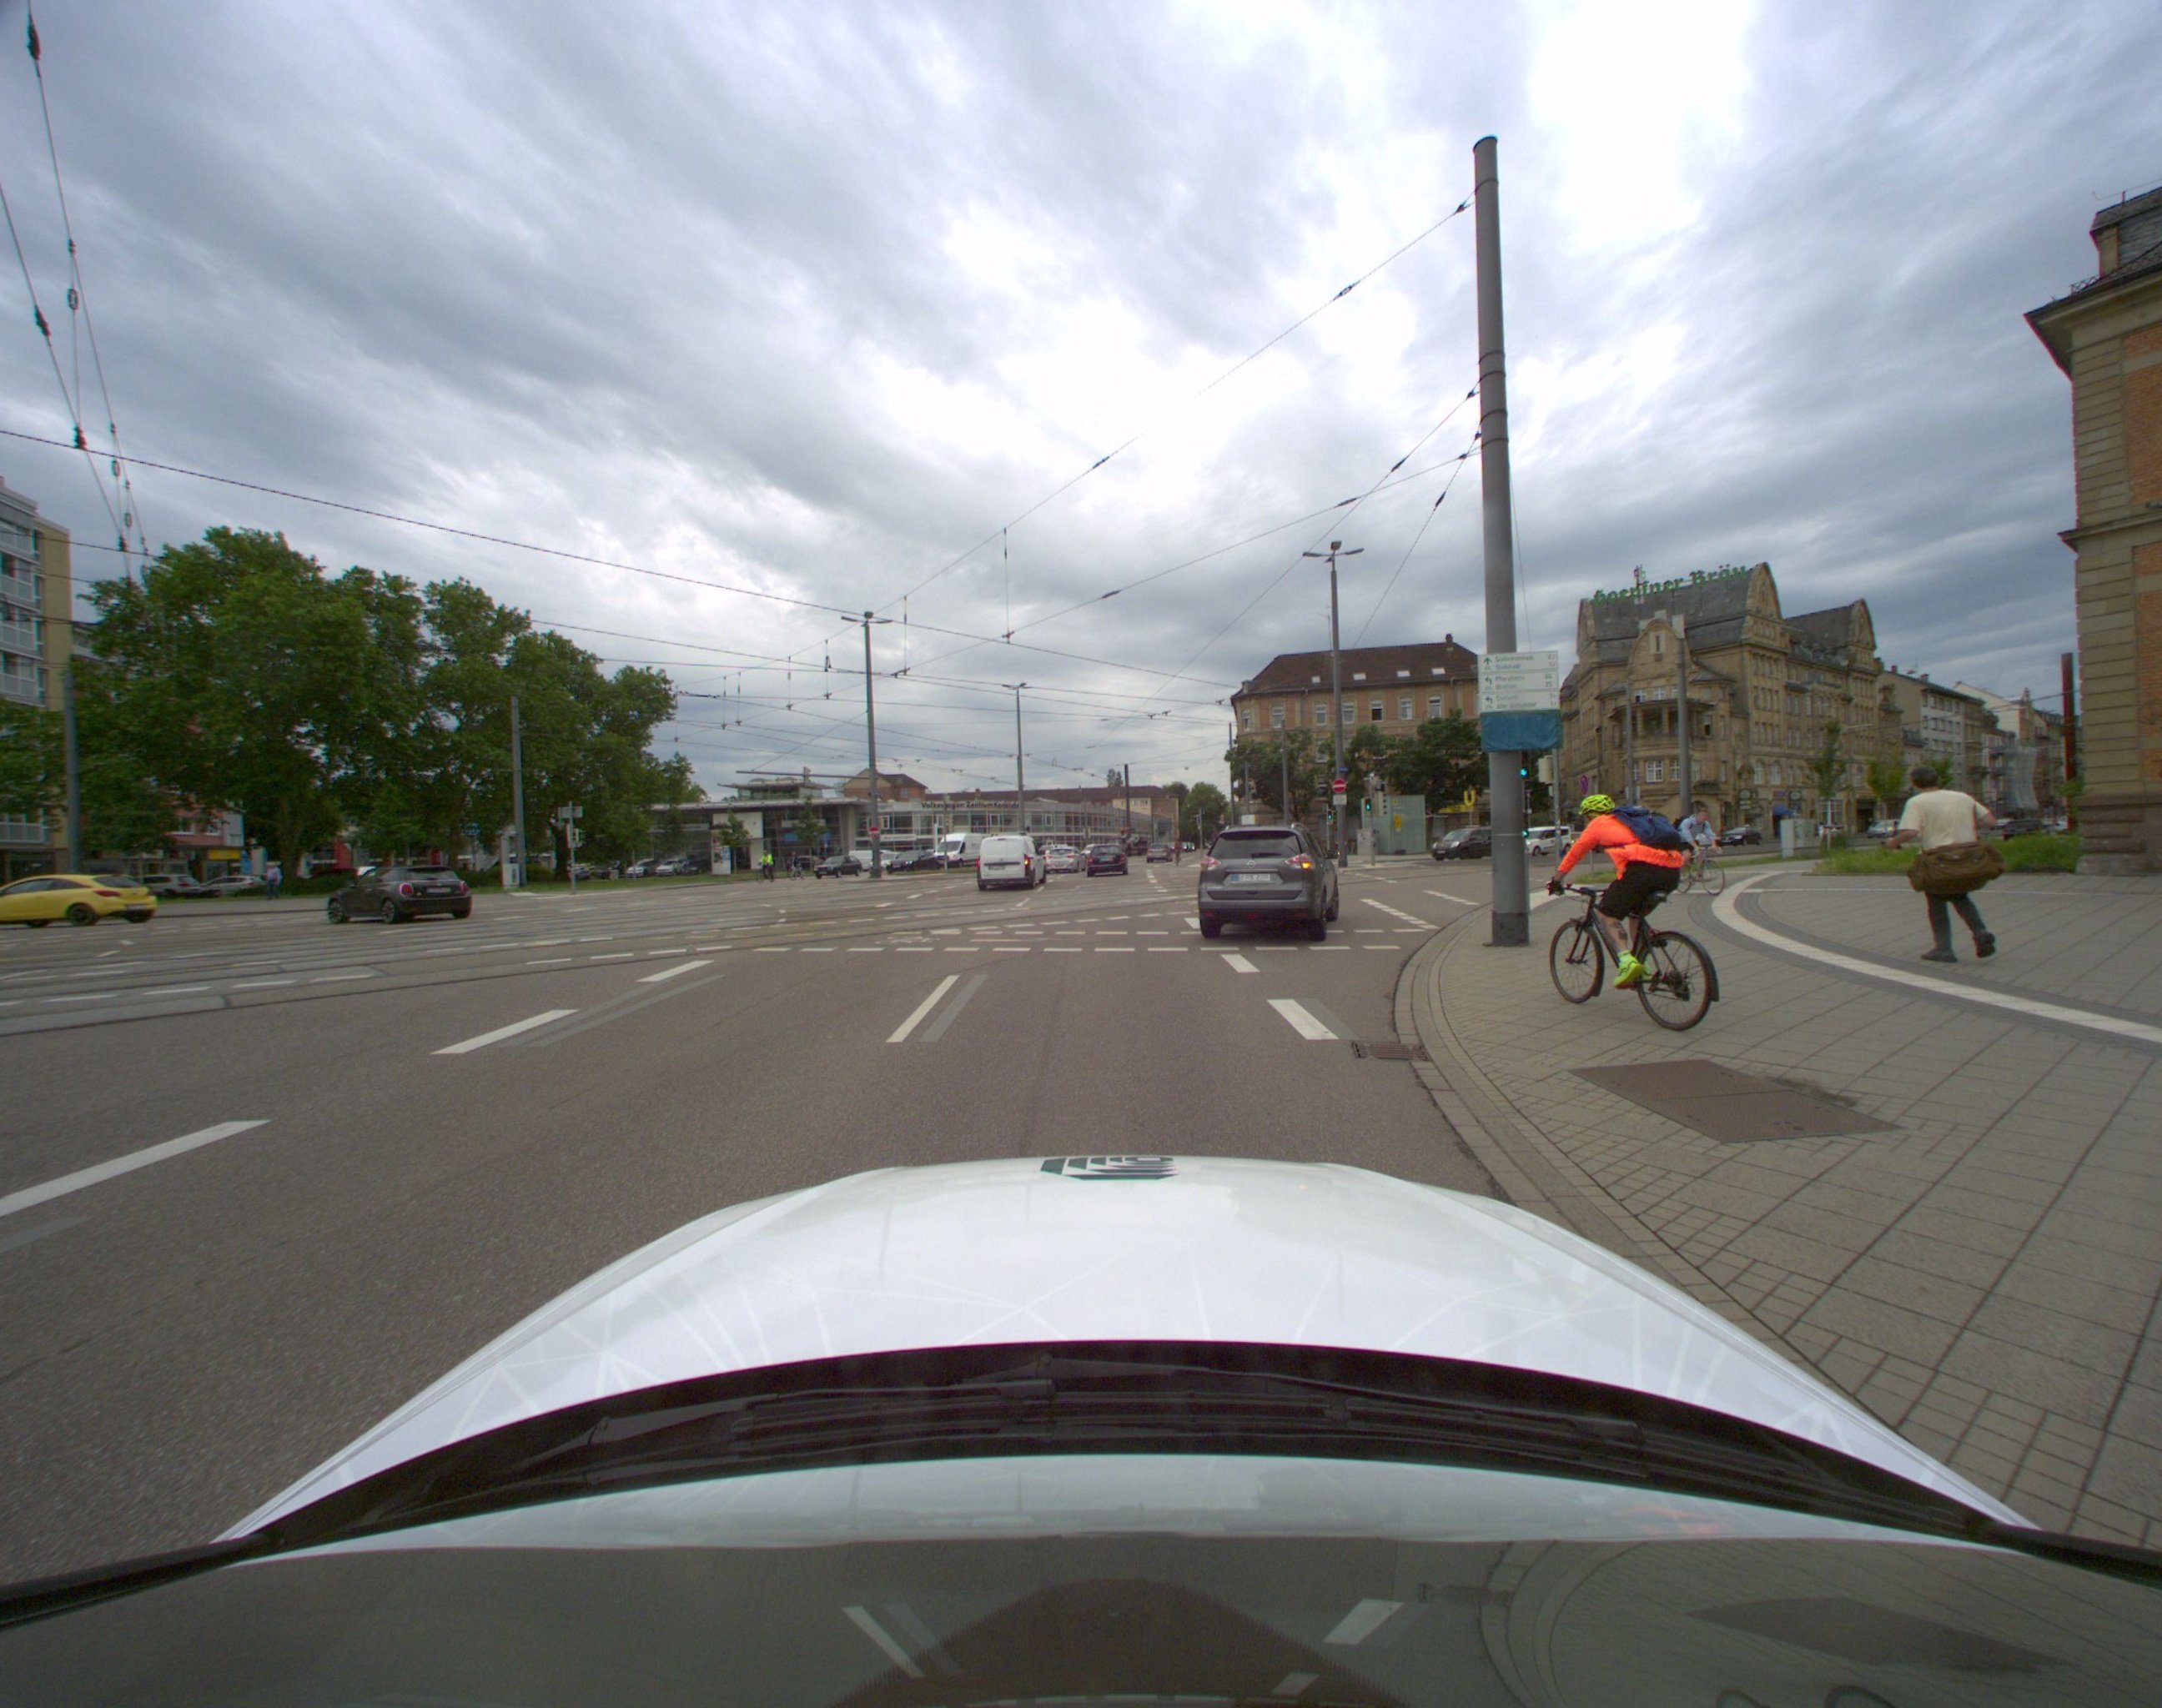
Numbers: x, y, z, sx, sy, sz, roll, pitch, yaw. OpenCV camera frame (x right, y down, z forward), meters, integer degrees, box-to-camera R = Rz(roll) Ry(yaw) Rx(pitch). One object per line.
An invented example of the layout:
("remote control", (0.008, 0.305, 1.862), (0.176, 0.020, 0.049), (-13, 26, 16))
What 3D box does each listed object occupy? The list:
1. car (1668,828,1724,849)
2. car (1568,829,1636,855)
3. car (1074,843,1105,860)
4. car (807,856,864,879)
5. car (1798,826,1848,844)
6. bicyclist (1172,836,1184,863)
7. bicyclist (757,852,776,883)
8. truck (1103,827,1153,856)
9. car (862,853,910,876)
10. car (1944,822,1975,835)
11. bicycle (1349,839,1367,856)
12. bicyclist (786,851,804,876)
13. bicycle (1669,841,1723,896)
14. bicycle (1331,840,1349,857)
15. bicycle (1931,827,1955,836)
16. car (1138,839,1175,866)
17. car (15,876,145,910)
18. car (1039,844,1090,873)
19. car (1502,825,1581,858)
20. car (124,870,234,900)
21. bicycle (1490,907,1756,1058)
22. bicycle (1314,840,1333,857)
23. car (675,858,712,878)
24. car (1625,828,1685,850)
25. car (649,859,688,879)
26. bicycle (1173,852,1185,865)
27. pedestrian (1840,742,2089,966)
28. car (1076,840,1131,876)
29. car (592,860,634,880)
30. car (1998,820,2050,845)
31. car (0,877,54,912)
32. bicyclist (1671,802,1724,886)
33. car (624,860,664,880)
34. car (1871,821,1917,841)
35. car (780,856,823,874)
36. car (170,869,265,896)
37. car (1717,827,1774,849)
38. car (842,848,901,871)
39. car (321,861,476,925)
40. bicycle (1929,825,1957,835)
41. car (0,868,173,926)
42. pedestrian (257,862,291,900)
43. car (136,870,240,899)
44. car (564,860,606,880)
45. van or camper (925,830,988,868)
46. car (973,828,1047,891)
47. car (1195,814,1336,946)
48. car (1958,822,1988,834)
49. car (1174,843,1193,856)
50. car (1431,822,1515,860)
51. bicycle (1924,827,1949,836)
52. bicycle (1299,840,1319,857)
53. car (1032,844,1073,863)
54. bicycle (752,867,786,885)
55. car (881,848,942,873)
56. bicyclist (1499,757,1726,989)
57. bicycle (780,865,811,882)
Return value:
("car", (45.817, -1.178, 60.606), (4.376, 1.380, 1.735), (-2, -2, -31))
("car", (34.586, -0.783, 54.075), (4.312, 1.534, 1.852), (-2, -2, -27))
("car", (1.031, -0.296, 95.396), (1.975, 1.838, 4.549), (-2, 0, 25))
("car", (-15.126, 0.809, 50.427), (1.675, 1.247, 3.751), (-2, 0, 13))
("car", (63.090, -1.633, 69.243), (4.269, 1.380, 1.915), (-2, 0, -29))
("bicyclist", (6.388, -0.297, 53.684), (0.685, 1.708, 0.799), (-2, 0, 1))
("bicyclist", (-18.301, 0.780, 47.368), (0.622, 1.803, 0.801), (-2, 0, 17))
("truck", (6.137, -1.545, 104.980), (2.767, 3.549, 9.280), (-1, 0, 28))
("car", (-13.262, 0.693, 55.539), (1.624, 1.420, 3.751), (-2, 0, 13))
("car", (107.548, -3.092, 99.678), (4.417, 1.504, 1.764), (-2, 0, -32))
("bicycle", (22.772, -0.498, 66.886), (0.949, 1.354, 3.139), (-1, 0, 26))
("bicyclist", (-17.585, 0.564, 50.089), (0.561, 1.508, 0.861), (-2, 1, 17))
("bicycle", (12.100, 0.262, 16.061), (0.664, 0.933, 1.871), (-5, 0, 33))
("bicycle", (21.312, -0.480, 67.014), (0.949, 1.354, 3.139), (-1, 0, 26))
("bicycle", (102.525, -2.666, 96.882), (0.465, 1.001, 1.950), (-2, 0, -39))
("car", (5.957, -0.141, 63.827), (1.977, 2.013, 4.019), (-1, 0, 18))
("car", (-55.087, 2.114, 44.914), (4.005, 1.552, 1.985), (-2, 0, -23))
("car", (-0.843, 0.222, 44.606), (1.840, 1.508, 4.014), (-1, 0, 13))
("car", (29.119, -0.776, 51.488), (5.112, 1.916, 1.852), (-2, 0, -27))
("car", (-54.864, 1.860, 49.639), (4.005, 1.706, 1.984), (-1, 0, -24))
("bicycle", (4.136, 0.920, 6.458), (0.555, 0.848, 2.069), (-2, 0, -6))
("bicycle", (20.085, -0.466, 67.444), (0.949, 1.354, 3.139), (-1, 0, 26))
("car", (-41.041, 1.493, 86.352), (1.986, 2.013, 4.002), (-1, 0, 2))
("car", (39.977, -1.052, 56.717), (3.905, 1.399, 1.852), (-2, -2, -28))
("car", (-43.869, 1.593, 86.604), (1.986, 2.013, 4.002), (-1, 0, 2))
("bicycle", (6.435, 0.307, 53.625), (0.616, 0.793, 1.592), (-2, 0, 2))
("pedestrian", (8.084, -0.001, 7.544), (0.881, 1.867, 1.287), (-2, 0, 3))
("car", (1.051, 0.147, 35.827), (1.983, 1.420, 4.008), (-2, 0, 7))
("car", (-49.494, 1.689, 86.183), (1.986, 2.013, 4.002), (-1, 0, 2))
("car", (62.133, -1.430, 53.649), (3.945, 1.434, 1.626), (-2, -2, -32))
("car", (-51.898, 1.974, 38.263), (4.005, 1.552, 1.985), (-2, 0, -23))
("bicyclist", (12.056, -0.208, 15.951), (0.684, 1.560, 0.932), (-4, 1, 32))
("car", (-46.383, 1.654, 86.529), (1.986, 2.013, 4.002), (-1, 0, 2))
("car", (75.148, -2.163, 75.268), (4.925, 1.706, 1.851), (-2, -1, -31))
("car", (-24.046, 0.930, 70.208), (1.623, 1.420, 3.754), (-2, 0, 16))
("car", (-59.391, 1.939, 56.122), (4.005, 1.706, 1.984), (-1, 0, -24))
("car", (46.937, -1.164, 57.517), (4.010, 1.442, 1.679), (-2, 0, -28))
("car", (-19.228, 0.495, 74.818), (4.732, 2.013, 2.129), (-1, 0, 13))
("car", (-17.722, 0.976, 21.130), (3.949, 1.468, 1.786), (-2, 0, 30))
("bicycle", (103.545, -2.903, 97.813), (0.506, 1.126, 2.212), (-2, 0, -39))
("car", (-29.175, 1.204, 23.295), (3.985, 1.494, 1.818), (-1, 0, -8))
("pedestrian", (-36.545, 1.211, 36.890), (0.919, 1.719, 0.700), (-1, 0, -32))
("car", (-57.278, 1.936, 52.345), (4.005, 1.706, 1.984), (-1, 0, -24))
("car", (-52.675, 1.642, 86.571), (1.986, 2.013, 4.002), (-1, 0, 2))
("van or camper", (-9.033, -0.341, 59.894), (2.398, 2.611, 6.074), (-1, 0, 14))
("car", (-2.311, 0.156, 27.645), (1.905, 1.940, 4.134), (-2, 0, 3))
("car", (3.082, 0.337, 12.987), (1.735, 1.755, 3.943), (-2, 0, 19))
("car", (112.763, -3.287, 102.907), (4.417, 1.504, 1.764), (-2, 0, -32))
("car", (16.134, -0.699, 128.095), (1.977, 1.838, 4.546), (-2, 0, 20))
("car", (20.771, -0.698, 43.126), (4.397, 1.900, 1.679), (-2, 0, -28))
("bicycle", (99.575, -2.649, 94.820), (0.465, 1.001, 1.950), (-2, 0, -39))
("bicycle", (19.003, -0.454, 67.842), (0.949, 1.354, 3.139), (-1, 0, 26))
("car", (-2.976, -0.108, 86.137), (2.138, 1.856, 5.477), (-2, 0, 23))
("bicycle", (-18.203, 1.298, 47.580), (0.514, 0.930, 2.233), (-2, 1, 17))
("car", (-10.858, 0.388, 52.494), (1.980, 1.420, 4.679), (-2, 0, 13))
("bicyclist", (4.128, 0.127, 6.452), (0.826, 1.621, 1.319), (-2, 0, -6))
("bicycle", (-17.569, 1.194, 50.112), (0.514, 0.926, 2.233), (-2, 1, 17))
